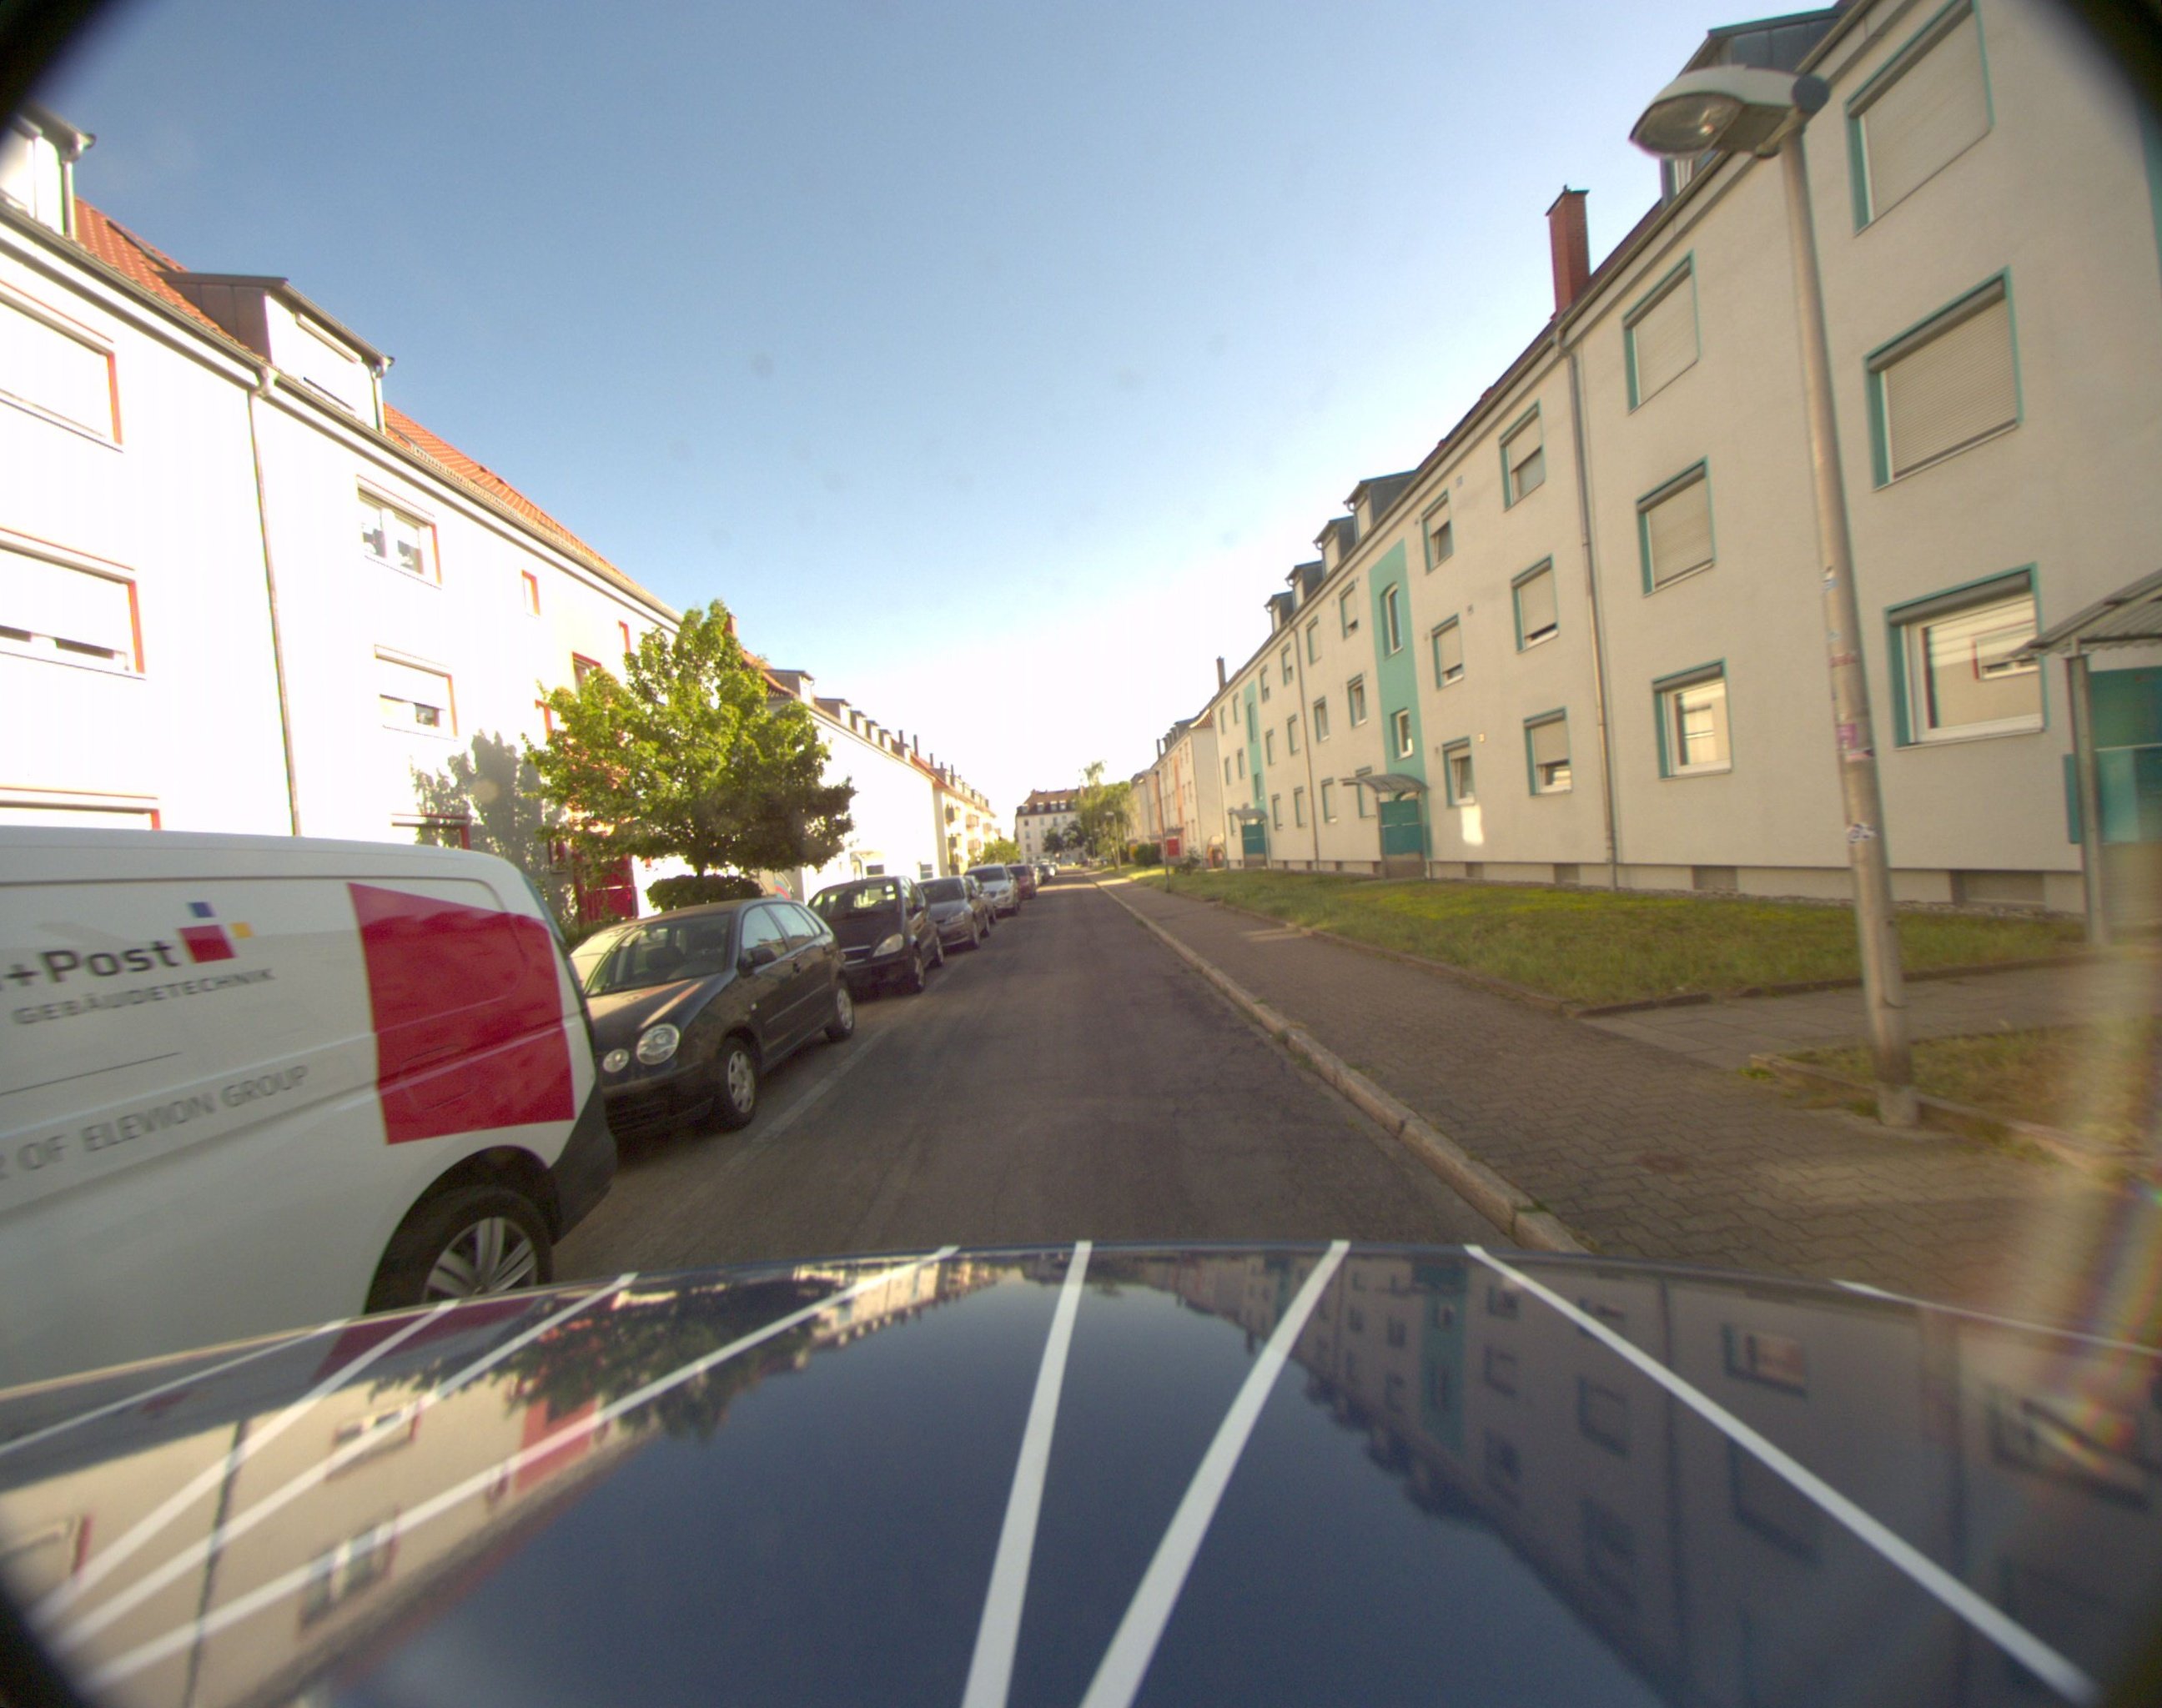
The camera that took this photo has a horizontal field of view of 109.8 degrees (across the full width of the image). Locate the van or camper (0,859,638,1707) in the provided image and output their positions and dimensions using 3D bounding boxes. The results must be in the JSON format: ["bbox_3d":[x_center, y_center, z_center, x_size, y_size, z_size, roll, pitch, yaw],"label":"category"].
[{"bbox_3d":[-2.795,0.968,0.767,1.797,1.737,4.734,-5,0,0],"label":"van or camper"}]

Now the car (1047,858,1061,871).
[{"bbox_3d":[-3.873,1.476,108.779,1.709,1.562,3.925,-5,1,0],"label":"car"}]

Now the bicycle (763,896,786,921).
[{"bbox_3d":[-12.482,2.210,30.992,0.319,0.940,1.283,-3,0,1],"label":"bicycle"}]

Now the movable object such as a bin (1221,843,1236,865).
[{"bbox_3d":[9.885,-0.015,50.842,0.753,1.385,0.763,-5,0,-1],"label":"movable object such as a bin"}]

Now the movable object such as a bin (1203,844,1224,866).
[{"bbox_3d":[8.866,0.073,50.813,1.167,1.385,0.877,-5,0,-1],"label":"movable object such as a bin"}]

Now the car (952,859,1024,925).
[{"bbox_3d":[-2.874,1.115,24.332,1.780,1.709,4.306,-7,0,-3],"label":"car"}]

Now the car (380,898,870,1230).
[{"bbox_3d":[-3.000,1.252,6.041,1.577,1.409,3.787,-7,0,-2],"label":"car"}]

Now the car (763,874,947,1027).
[{"bbox_3d":[-2.999,1.191,10.848,1.622,1.541,3.609,-8,0,-5],"label":"car"}]

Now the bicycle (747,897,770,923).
[{"bbox_3d":[-13.174,2.262,31.058,0.319,0.940,1.283,-3,0,1],"label":"bicycle"}]

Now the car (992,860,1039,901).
[{"bbox_3d":[-2.962,1.181,35.267,1.732,1.597,4.423,-5,0,-1],"label":"car"}]

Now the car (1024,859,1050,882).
[{"bbox_3d":[-3.427,1.289,60.088,1.709,1.562,4.040,-5,0,-1],"label":"car"}]

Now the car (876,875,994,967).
[{"bbox_3d":[-2.793,1.231,15.345,1.633,1.441,3.951,-5,-1,-2],"label":"car"}]

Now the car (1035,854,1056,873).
[{"bbox_3d":[-3.985,1.073,85.548,1.954,1.889,4.763,-5,1,0],"label":"car"}]

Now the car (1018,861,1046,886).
[{"bbox_3d":[-3.451,1.352,54.225,1.709,1.562,4.040,-5,0,-1],"label":"car"}]

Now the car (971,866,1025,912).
[{"bbox_3d":[-3.182,1.327,29.811,1.621,1.440,3.857,-7,0,-1],"label":"car"}]

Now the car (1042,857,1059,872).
[{"bbox_3d":[-3.623,1.224,91.254,1.709,1.562,4.734,-5,1,0],"label":"car"}]

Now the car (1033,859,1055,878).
[{"bbox_3d":[-3.699,1.414,76.216,1.708,1.562,4.381,-5,1,2],"label":"car"}]

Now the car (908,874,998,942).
[{"bbox_3d":[-3.175,1.301,19.485,1.632,1.386,3.488,-5,0,0],"label":"car"}]
